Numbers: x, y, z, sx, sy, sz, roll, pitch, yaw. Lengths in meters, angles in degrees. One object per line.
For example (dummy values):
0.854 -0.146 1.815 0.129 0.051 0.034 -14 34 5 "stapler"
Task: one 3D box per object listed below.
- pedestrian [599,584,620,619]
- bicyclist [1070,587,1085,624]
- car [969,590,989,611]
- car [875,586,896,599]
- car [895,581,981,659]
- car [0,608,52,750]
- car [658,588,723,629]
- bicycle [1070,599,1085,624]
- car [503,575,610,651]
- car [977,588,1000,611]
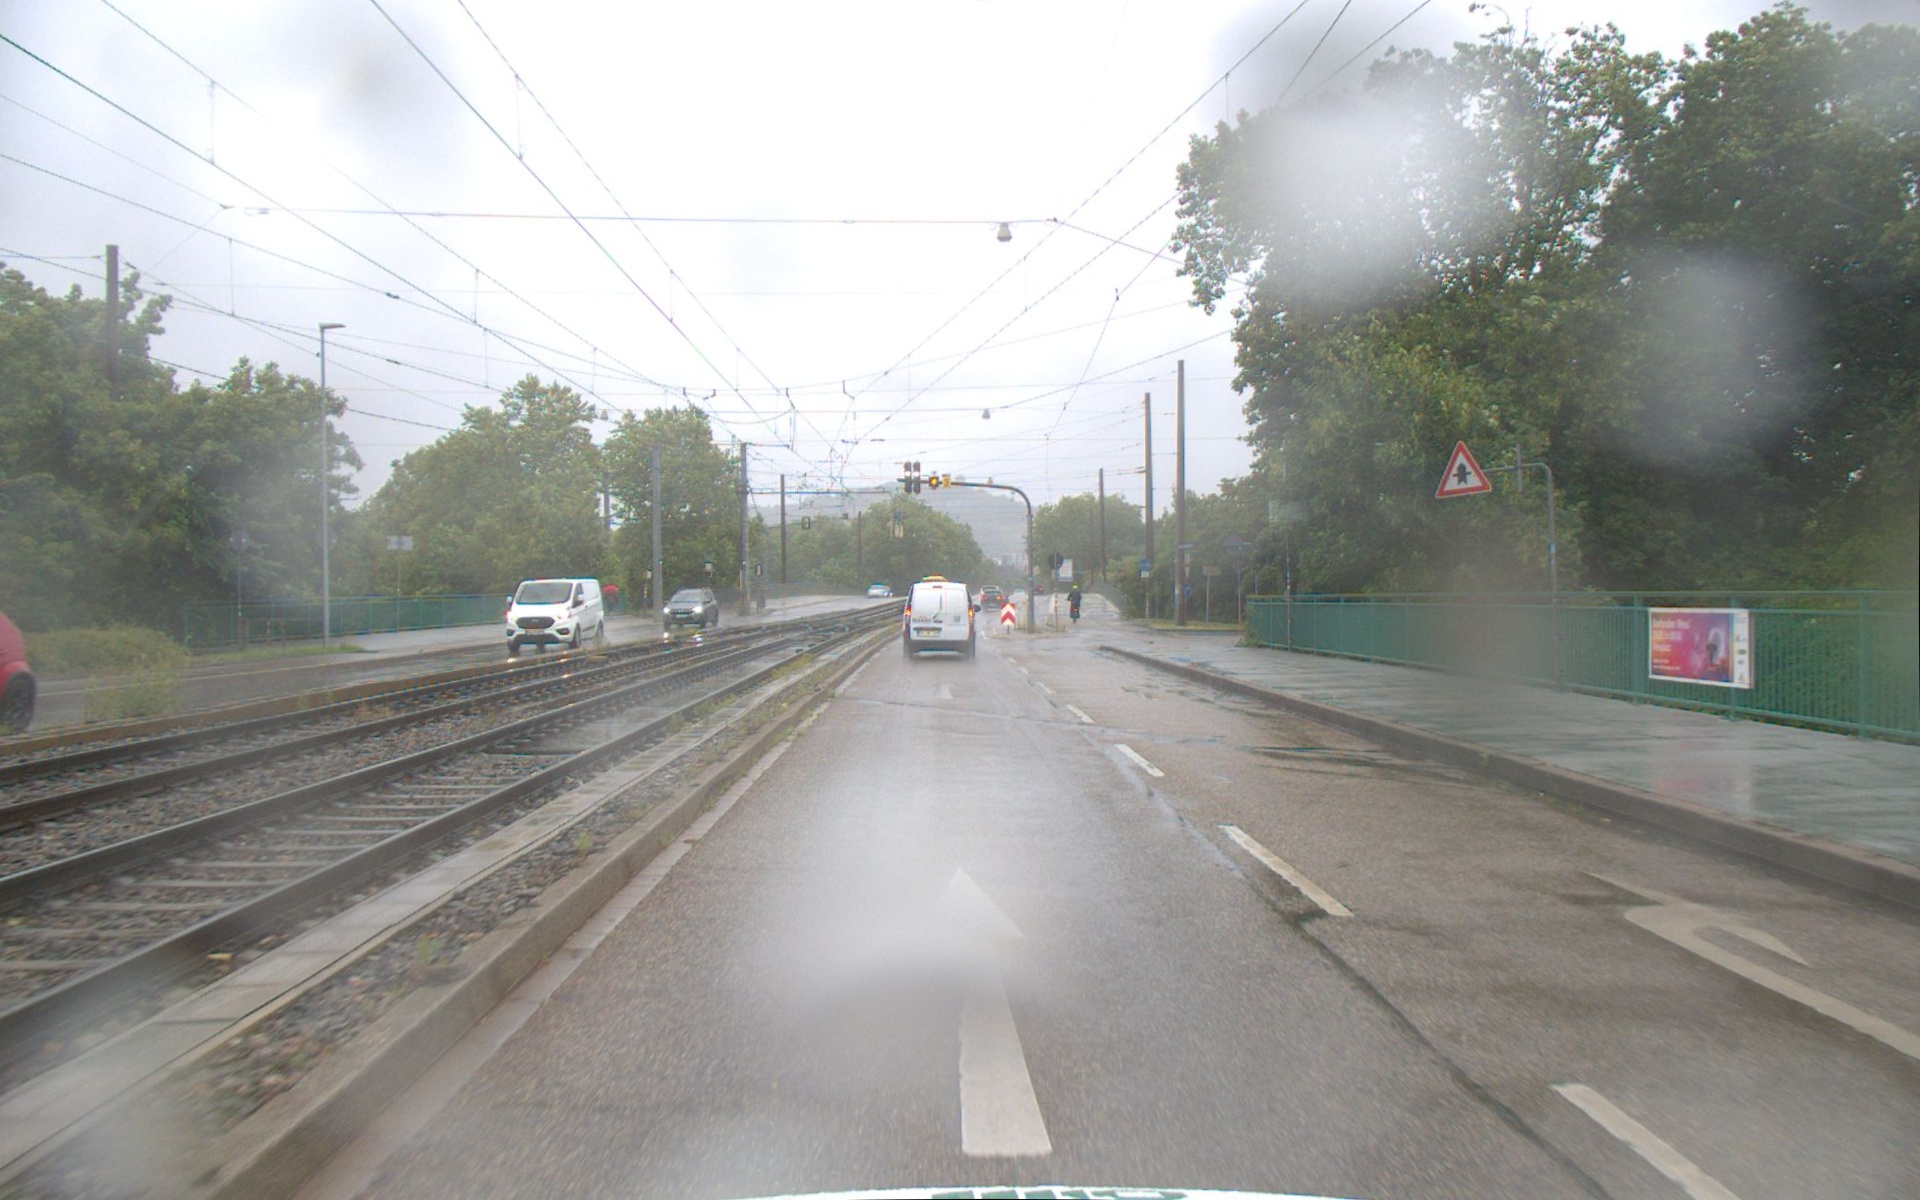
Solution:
-18.737 0.105 88.472 0.846 1.850 1.043 1 -1 1 "pedestrian"
5.766 0.250 81.058 0.710 1.794 0.949 1 -1 3 "bicyclist"
1.475 0.058 127.217 1.421 1.526 2.981 1 0 -1 "car"
-8.059 -0.842 179.402 1.894 1.252 4.102 -2 2 3 "car"
-0.476 0.478 40.123 1.952 1.756 4.000 1 0 1 "car"
-11.909 0.898 18.342 1.689 1.629 3.650 1 0 -1 "car"
-11.457 0.336 70.689 1.953 1.677 5.370 1 0 -1 "car"
5.750 0.549 81.121 0.708 1.148 2.169 1 0 3 "bicycle"
-11.692 0.354 48.253 1.953 2.079 5.027 1 0 -1 "car"
1.927 -0.032 111.247 1.421 1.526 2.981 1 0 -1 "car"
